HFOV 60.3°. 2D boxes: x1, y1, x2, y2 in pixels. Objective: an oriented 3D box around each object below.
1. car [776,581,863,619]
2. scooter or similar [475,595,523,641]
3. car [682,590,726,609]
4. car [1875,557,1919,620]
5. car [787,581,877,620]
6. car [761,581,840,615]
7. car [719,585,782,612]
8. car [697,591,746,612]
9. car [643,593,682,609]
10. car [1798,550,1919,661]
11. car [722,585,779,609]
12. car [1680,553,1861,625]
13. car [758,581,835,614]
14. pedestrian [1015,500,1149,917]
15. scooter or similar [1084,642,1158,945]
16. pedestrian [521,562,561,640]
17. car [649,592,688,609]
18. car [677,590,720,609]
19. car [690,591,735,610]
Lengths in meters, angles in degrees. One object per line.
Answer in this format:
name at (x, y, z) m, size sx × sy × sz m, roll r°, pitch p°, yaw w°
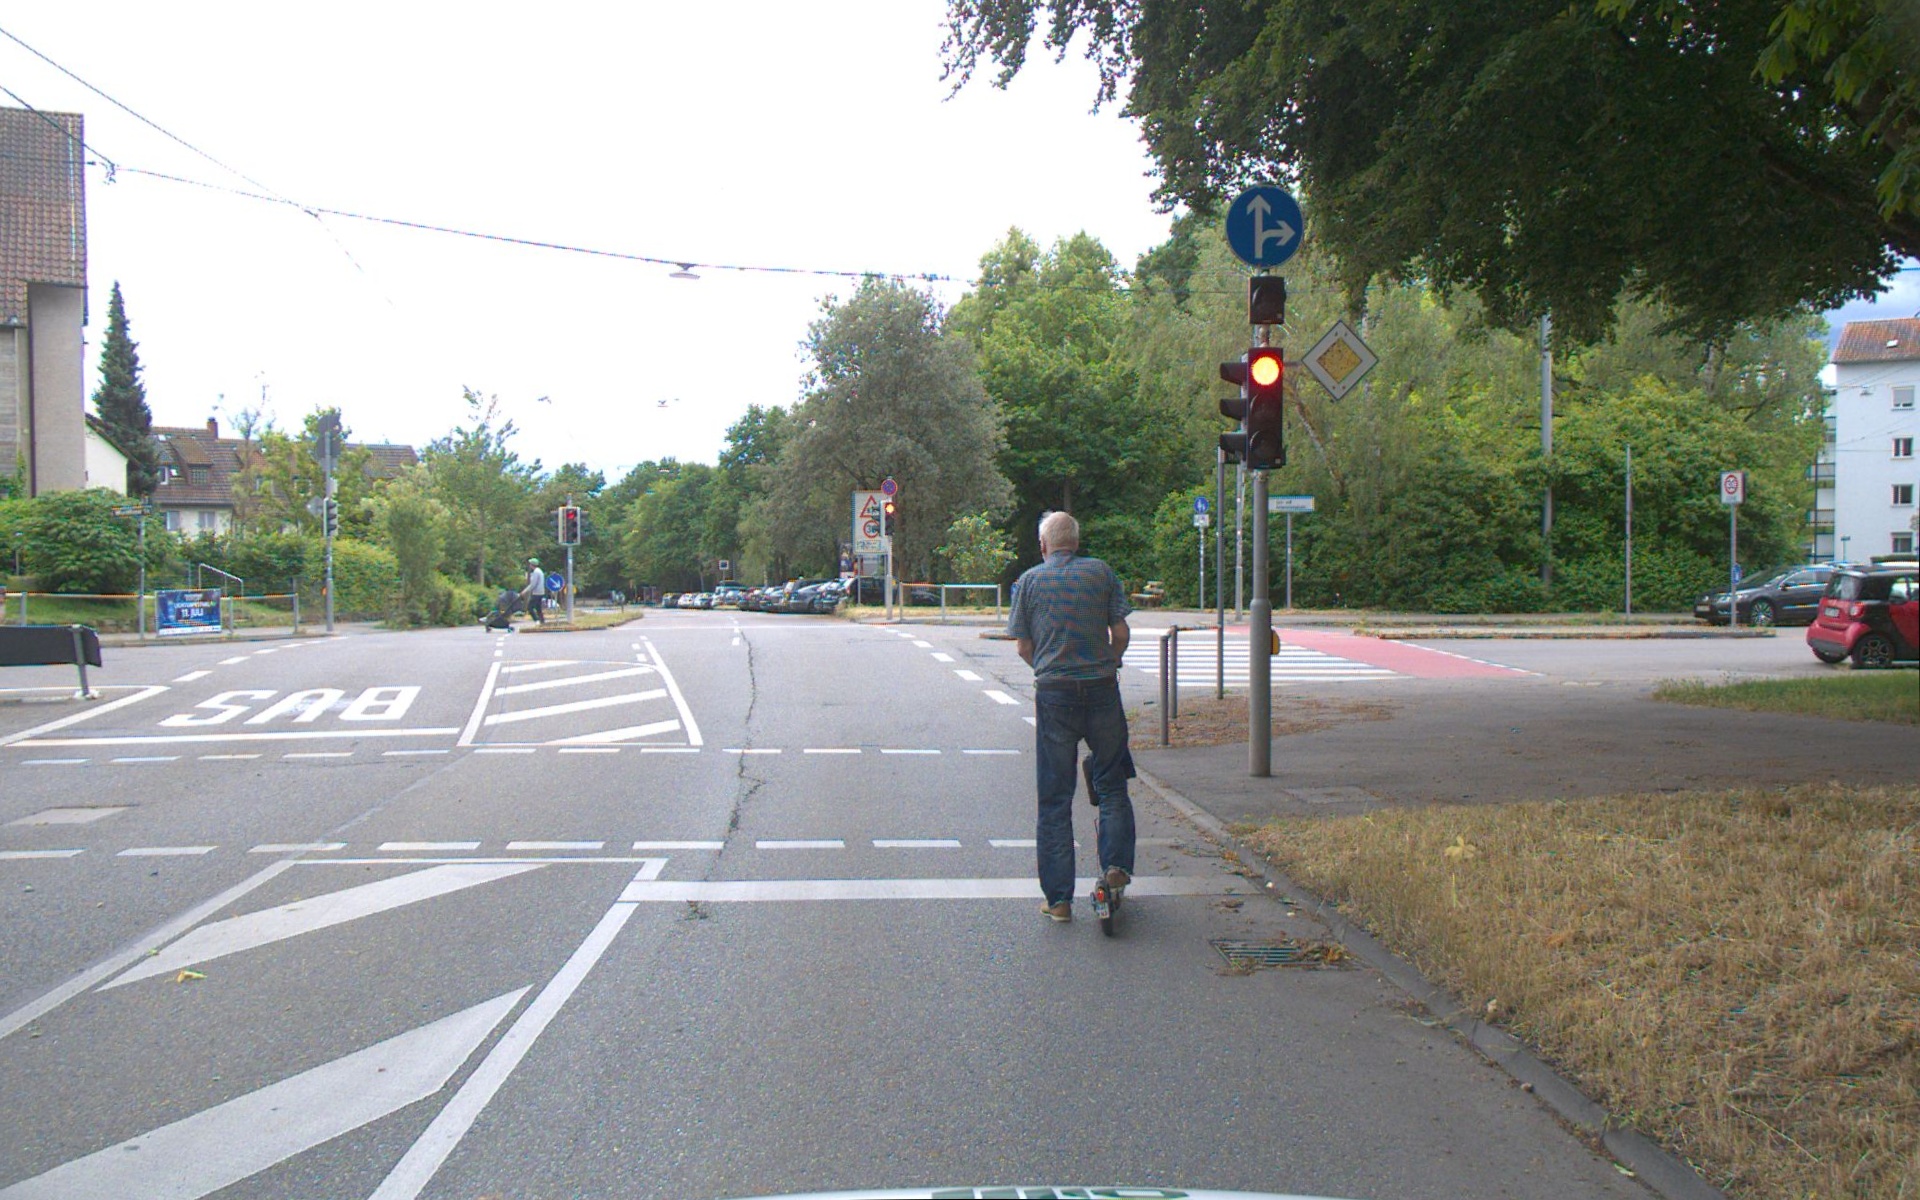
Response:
car at (-6.713, -0.011, 79.187) m, size 3.790 × 1.639 × 1.716 m, roll -2°, pitch 1°, yaw -24°
scooter or similar at (-11.312, 0.429, 40.600) m, size 1.091 × 1.100 × 0.574 m, roll -1°, pitch 1°, yaw -20°
car at (-24.097, -0.053, 155.827) m, size 3.790 × 1.639 × 1.716 m, roll -2°, pitch 1°, yaw -24°
car at (26.411, -0.340, 45.803) m, size 1.689 × 1.639 × 3.850 m, roll -1°, pitch 1°, yaw 27°
car at (-5.919, 0.008, 76.658) m, size 3.792 × 1.639 × 1.715 m, roll -2°, pitch 1°, yaw -25°
car at (-8.351, -0.127, 86.512) m, size 3.790 × 1.639 × 1.716 m, roll -2°, pitch 1°, yaw -24°
car at (-13.765, -0.083, 108.705) m, size 3.790 × 1.639 × 1.716 m, roll -2°, pitch 1°, yaw -24°
car at (-20.532, 0.094, 142.443) m, size 3.790 × 1.639 × 1.716 m, roll -2°, pitch 1°, yaw -24°
car at (-31.907, 0.083, 177.477) m, size 3.790 × 1.639 × 1.716 m, roll -2°, pitch 1°, yaw -24°
car at (15.259, 0.042, 25.823) m, size 3.444 × 1.639 × 1.729 m, roll -2°, pitch 1°, yaw 4°
car at (-15.420, -0.220, 121.649) m, size 3.790 × 1.639 × 1.716 m, roll -2°, pitch 1°, yaw -24°
car at (19.159, -0.267, 39.224) m, size 3.444 × 1.557 × 1.729 m, roll -2°, pitch 1°, yaw 5°
car at (-8.790, -0.141, 88.917) m, size 3.790 × 1.639 × 1.716 m, roll -2°, pitch 1°, yaw -24°
pedestrian at (0.565, 0.480, 7.553) m, size 0.560 × 1.845 × 0.421 m, roll -1°, pitch 0°, yaw 7°
scooter or similar at (0.733, 0.811, 7.382) m, size 0.276 × 1.199 × 1.178 m, roll -1°, pitch 1°, yaw 7°
pedestrian at (-10.344, 0.026, 40.851) m, size 0.867 × 1.895 × 0.573 m, roll -1°, pitch 0°, yaw -8°
car at (-30.898, 0.024, 175.155) m, size 3.790 × 1.639 × 1.716 m, roll -2°, pitch 1°, yaw -24°
car at (-25.029, -0.080, 158.384) m, size 3.790 × 1.639 × 1.716 m, roll -2°, pitch 1°, yaw -24°
car at (-23.038, 0.019, 153.710) m, size 3.790 × 1.639 × 1.716 m, roll -2°, pitch 1°, yaw -24°
